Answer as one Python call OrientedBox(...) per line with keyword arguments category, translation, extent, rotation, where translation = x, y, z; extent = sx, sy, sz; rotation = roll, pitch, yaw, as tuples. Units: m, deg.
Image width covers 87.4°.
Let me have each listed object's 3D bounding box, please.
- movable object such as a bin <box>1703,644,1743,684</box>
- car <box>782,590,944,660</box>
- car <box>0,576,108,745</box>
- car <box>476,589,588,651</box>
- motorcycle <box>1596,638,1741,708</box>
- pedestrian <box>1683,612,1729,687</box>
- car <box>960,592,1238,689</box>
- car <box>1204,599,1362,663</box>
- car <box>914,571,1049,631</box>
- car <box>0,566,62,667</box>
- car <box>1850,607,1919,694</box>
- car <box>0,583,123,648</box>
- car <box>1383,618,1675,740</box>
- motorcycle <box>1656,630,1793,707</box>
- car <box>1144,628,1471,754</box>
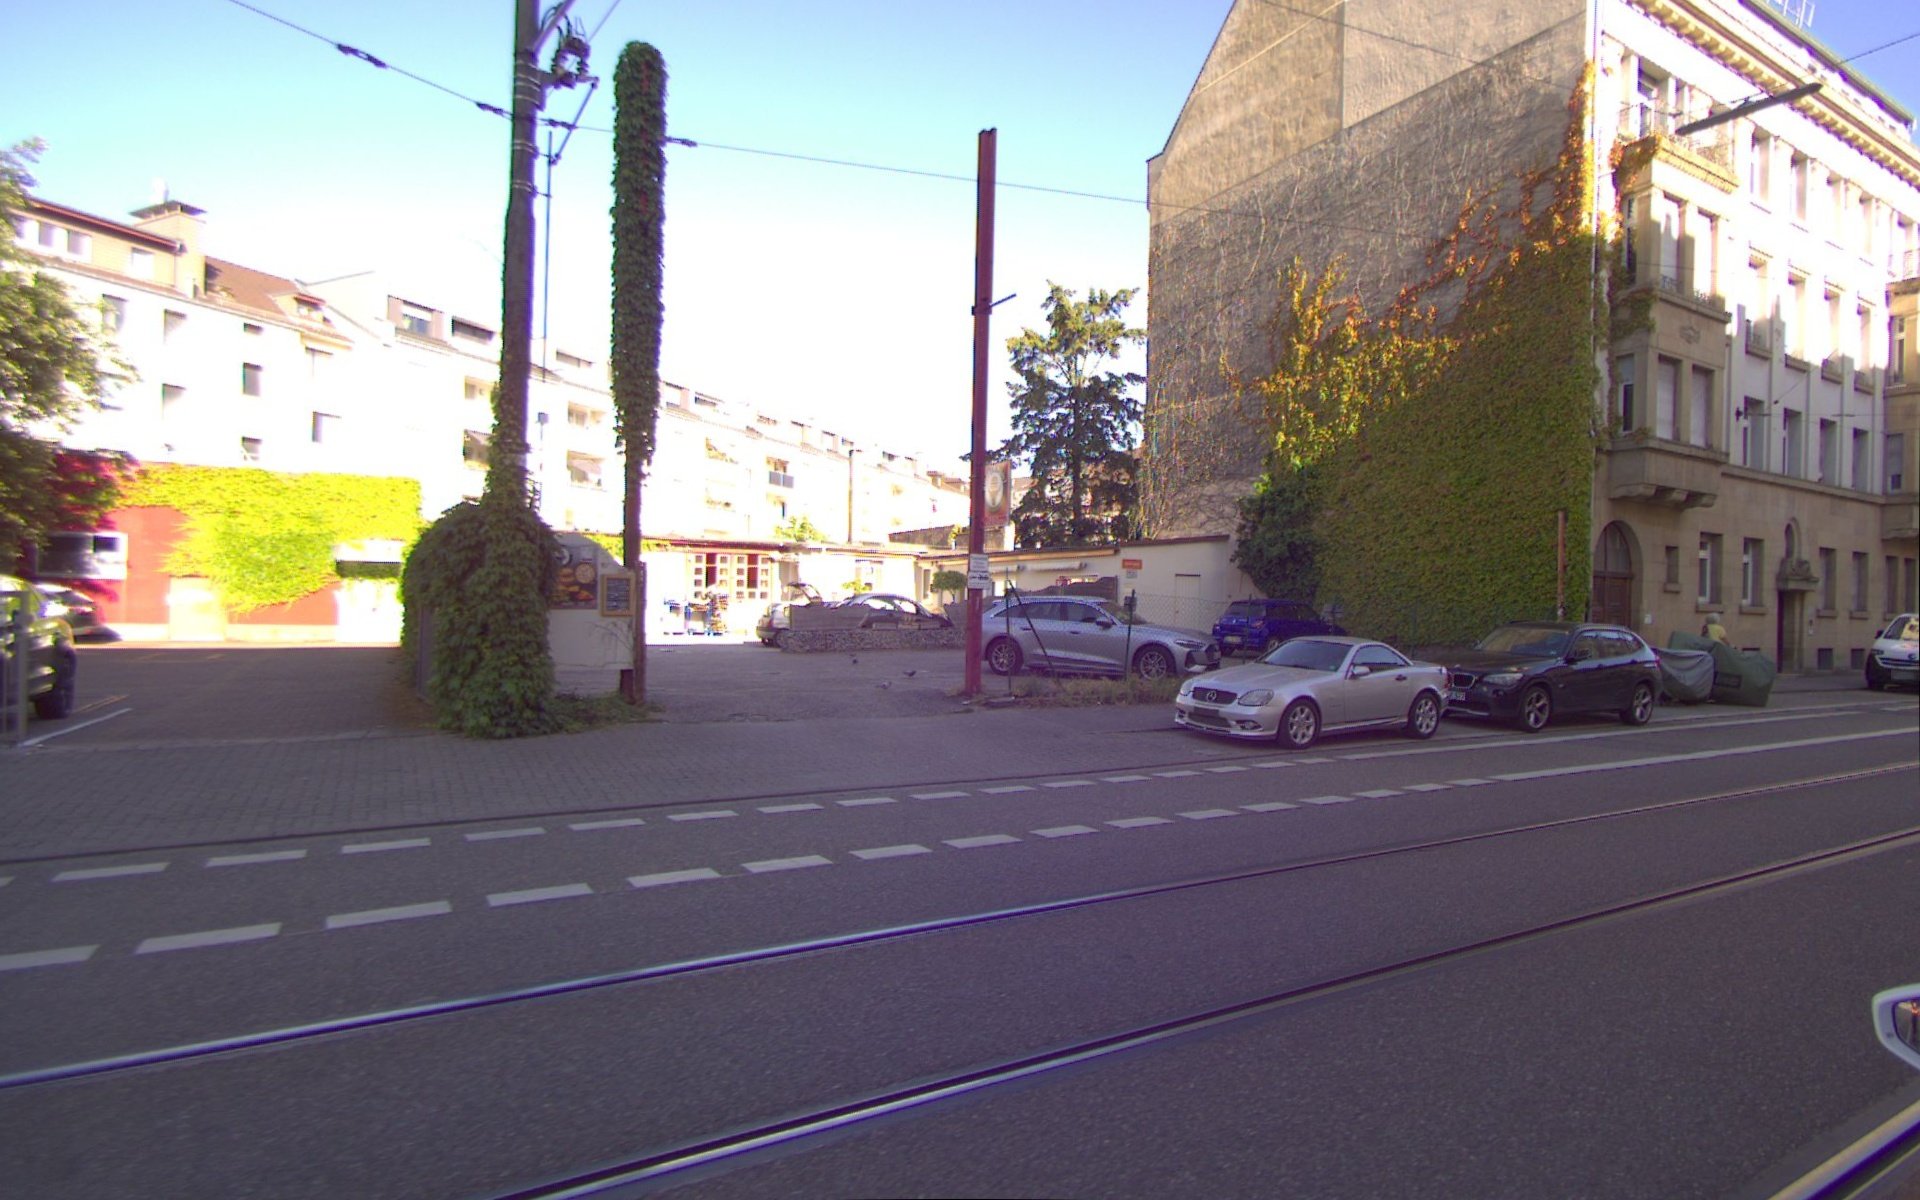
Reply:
OrientedBox(category="movable object such as a bin", translation=(18.455, 1.536, 24.304), extent=(0.512, 0.912, 0.610), rotation=(1, 0, -30))
OrientedBox(category="car", translation=(-2.583, 0.664, 26.953), extent=(3.953, 1.773, 1.788), rotation=(1, 0, -30))
OrientedBox(category="car", translation=(-10.663, 0.541, 10.341), extent=(1.975, 1.619, 4.343), rotation=(1, 0, -28))
OrientedBox(category="car", translation=(-11.932, 0.506, 27.874), extent=(1.788, 1.575, 3.953), rotation=(1, 0, -40))
OrientedBox(category="motorcycle", translation=(13.085, 1.344, 18.592), extent=(2.137, 1.187, 0.741), rotation=(1, 0, 0))
OrientedBox(category="pedestrian", translation=(17.770, 1.162, 23.931), extent=(0.609, 1.747, 0.676), rotation=(1, 0, -30))
OrientedBox(category="car", translation=(2.551, 0.683, 18.637), extent=(4.708, 1.538, 1.998), rotation=(1, 0, 27))
OrientedBox(category="car", translation=(8.342, 0.786, 25.901), extent=(3.863, 1.546, 1.744), rotation=(1, 0, -30))
OrientedBox(category="car", translation=(0.699, 0.057, 32.158), extent=(3.953, 1.773, 1.788), rotation=(1, 0, -30))
OrientedBox(category="car", translation=(-20.013, 0.279, 19.131), extent=(4.109, 1.919, 1.754), rotation=(1, 0, -36))
OrientedBox(category="car", translation=(24.574, 1.255, 25.146), extent=(5.193, 1.975, 1.962), rotation=(2, 1, -32))
OrientedBox(category="car", translation=(-24.172, 0.365, 25.596), extent=(4.100, 1.607, 1.757), rotation=(1, 0, -30))
OrientedBox(category="car", translation=(8.856, 1.142, 15.544), extent=(4.554, 1.586, 1.775), rotation=(2, 1, -29))
OrientedBox(category="motorcycle", translation=(14.734, 1.304, 19.407), extent=(1.918, 1.369, 0.886), rotation=(1, 0, 2))
OrientedBox(category="car", translation=(4.624, 1.103, 13.217), extent=(4.172, 1.331, 1.774), rotation=(2, 1, -31))
